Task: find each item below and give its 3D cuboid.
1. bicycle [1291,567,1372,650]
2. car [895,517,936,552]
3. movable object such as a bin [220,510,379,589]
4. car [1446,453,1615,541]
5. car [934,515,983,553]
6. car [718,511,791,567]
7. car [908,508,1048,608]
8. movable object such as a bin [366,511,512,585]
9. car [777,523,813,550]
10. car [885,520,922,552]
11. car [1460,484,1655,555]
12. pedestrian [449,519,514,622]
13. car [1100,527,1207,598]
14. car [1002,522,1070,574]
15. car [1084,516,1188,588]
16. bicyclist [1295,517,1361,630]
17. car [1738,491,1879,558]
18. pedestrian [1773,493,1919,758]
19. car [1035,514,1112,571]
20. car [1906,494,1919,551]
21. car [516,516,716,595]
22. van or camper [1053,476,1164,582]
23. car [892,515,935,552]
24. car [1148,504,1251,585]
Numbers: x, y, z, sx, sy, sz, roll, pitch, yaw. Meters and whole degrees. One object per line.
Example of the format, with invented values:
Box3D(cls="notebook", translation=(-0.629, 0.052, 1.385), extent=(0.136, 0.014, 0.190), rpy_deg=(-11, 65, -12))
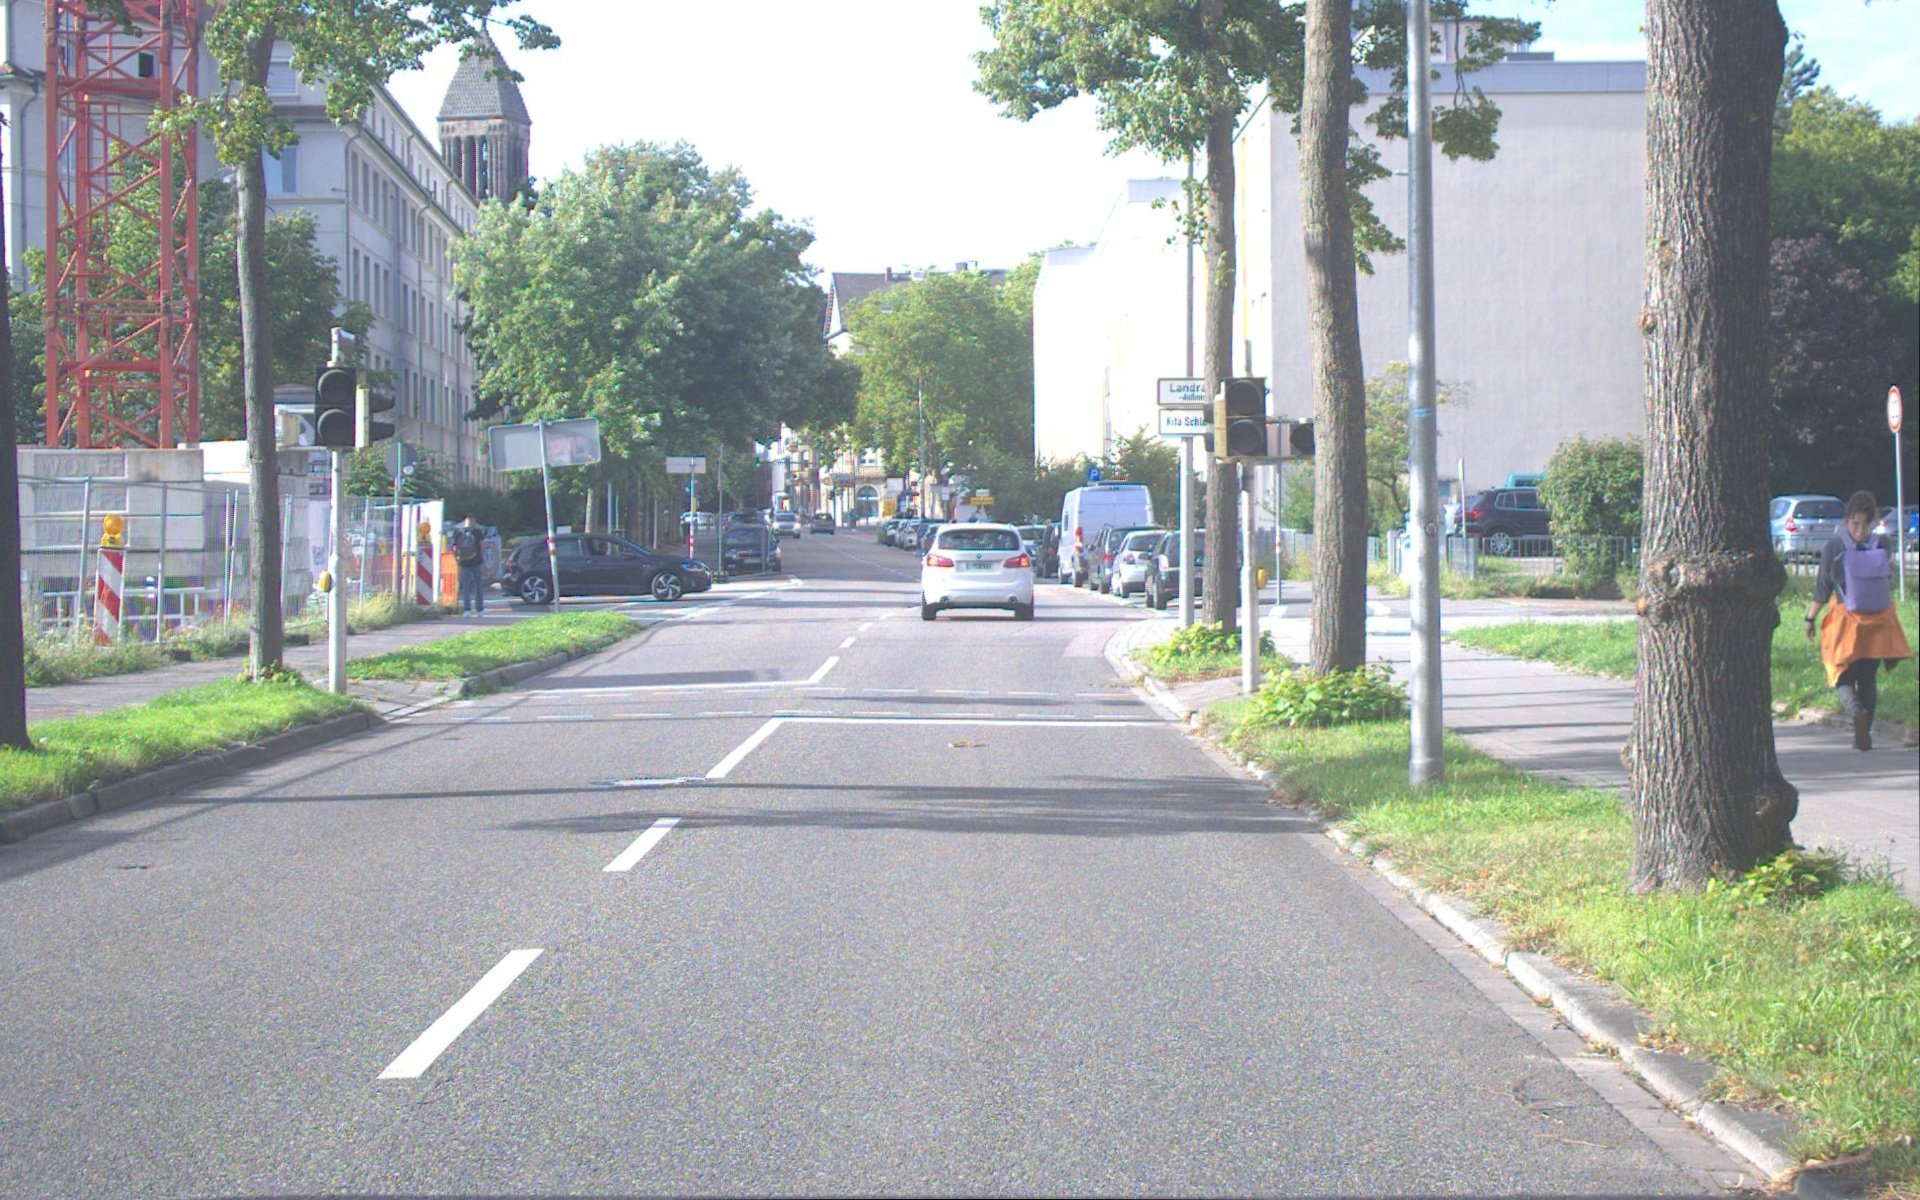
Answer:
Box3D(cls="bicycle", translation=(5.064, 0.100, 47.031), extent=(0.740, 1.031, 2.762), rpy_deg=(-3, 1, 0))
Box3D(cls="car", translation=(-2.282, -3.373, 176.182), extent=(1.993, 1.749, 4.000), rpy_deg=(1, 1, 0))
Box3D(cls="movable object such as a bin", translation=(-14.705, -1.121, 76.614), extent=(3.105, 1.702, 1.546), rpy_deg=(1, 1, 15))
Box3D(cls="car", translation=(14.785, -2.675, 89.282), extent=(4.120, 2.178, 2.000), rpy_deg=(-1, 1, 4))
Box3D(cls="car", translation=(-0.085, -2.834, 147.536), extent=(1.993, 1.568, 4.000), rpy_deg=(-1, 2, -1))
Box3D(cls="car", translation=(-6.284, -1.889, 104.882), extent=(1.993, 1.634, 4.001), rpy_deg=(-1, 2, -6))
Box3D(cls="car", translation=(0.251, -0.700, 55.977), extent=(1.993, 1.549, 4.275), rpy_deg=(1, 1, -3))
Box3D(cls="movable object such as a bin", translation=(-12.360, -1.229, 81.610), extent=(3.105, 1.702, 1.409), rpy_deg=(1, 1, 14))
Box3D(cls="car", translation=(-10.850, -4.177, 225.552), extent=(2.055, 1.658, 3.927), rpy_deg=(-1, 2, -6))
Box3D(cls="car", translation=(-3.230, -3.656, 196.837), extent=(1.993, 1.749, 4.000), rpy_deg=(1, 1, 0))
Box3D(cls="car", translation=(14.470, -1.968, 83.430), extent=(4.449, 1.616, 2.000), rpy_deg=(-1, 1, 4))
Box3D(cls="pedestrian", translation=(-8.126, -0.504, 58.301), extent=(1.006, 1.722, 1.178), rpy_deg=(0, 0, -12))
Box3D(cls="car", translation=(4.303, -0.854, 77.193), extent=(2.015, 1.470, 4.802), rpy_deg=(-2, 1, -1))
Box3D(cls="car", translation=(2.412, -1.675, 110.041), extent=(1.993, 1.568, 4.000), rpy_deg=(-1, 2, -1))
Box3D(cls="car", translation=(4.184, -1.175, 82.293), extent=(1.993, 1.610, 4.409), rpy_deg=(-1, 2, -3))
Box3D(cls="bicyclist", translation=(5.031, -0.369, 47.061), extent=(0.737, 1.508, 0.875), rpy_deg=(-3, 1, 0))
Box3D(cls="car", translation=(19.040, -1.712, 77.265), extent=(1.993, 1.437, 4.001), rpy_deg=(-1, 2, -3))
Box3D(cls="pedestrian", translation=(5.583, 0.146, 21.335), extent=(0.814, 1.585, 0.769), rpy_deg=(-3, 1, -1))
Box3D(cls="car", translation=(3.266, -1.688, 99.403), extent=(1.993, 1.568, 4.000), rpy_deg=(-1, 2, -1))
Box3D(cls="car", translation=(27.940, -2.137, 93.266), extent=(3.987, 1.546, 2.000), rpy_deg=(-1, 1, -1))
Box3D(cls="car", translation=(-6.980, -0.921, 69.882), extent=(3.986, 1.565, 2.000), rpy_deg=(0, 1, -5))
Box3D(cls="van or camper", translation=(3.784, -1.842, 88.462), extent=(2.209, 2.598, 5.373), rpy_deg=(-1, 2, -4))
Box3D(cls="car", translation=(-2.222, -3.227, 166.107), extent=(1.993, 1.749, 4.000), rpy_deg=(1, 1, 0))
Box3D(cls="car", translation=(4.546, -1.063, 65.734), extent=(1.717, 1.491, 4.268), rpy_deg=(0, 1, 1))
